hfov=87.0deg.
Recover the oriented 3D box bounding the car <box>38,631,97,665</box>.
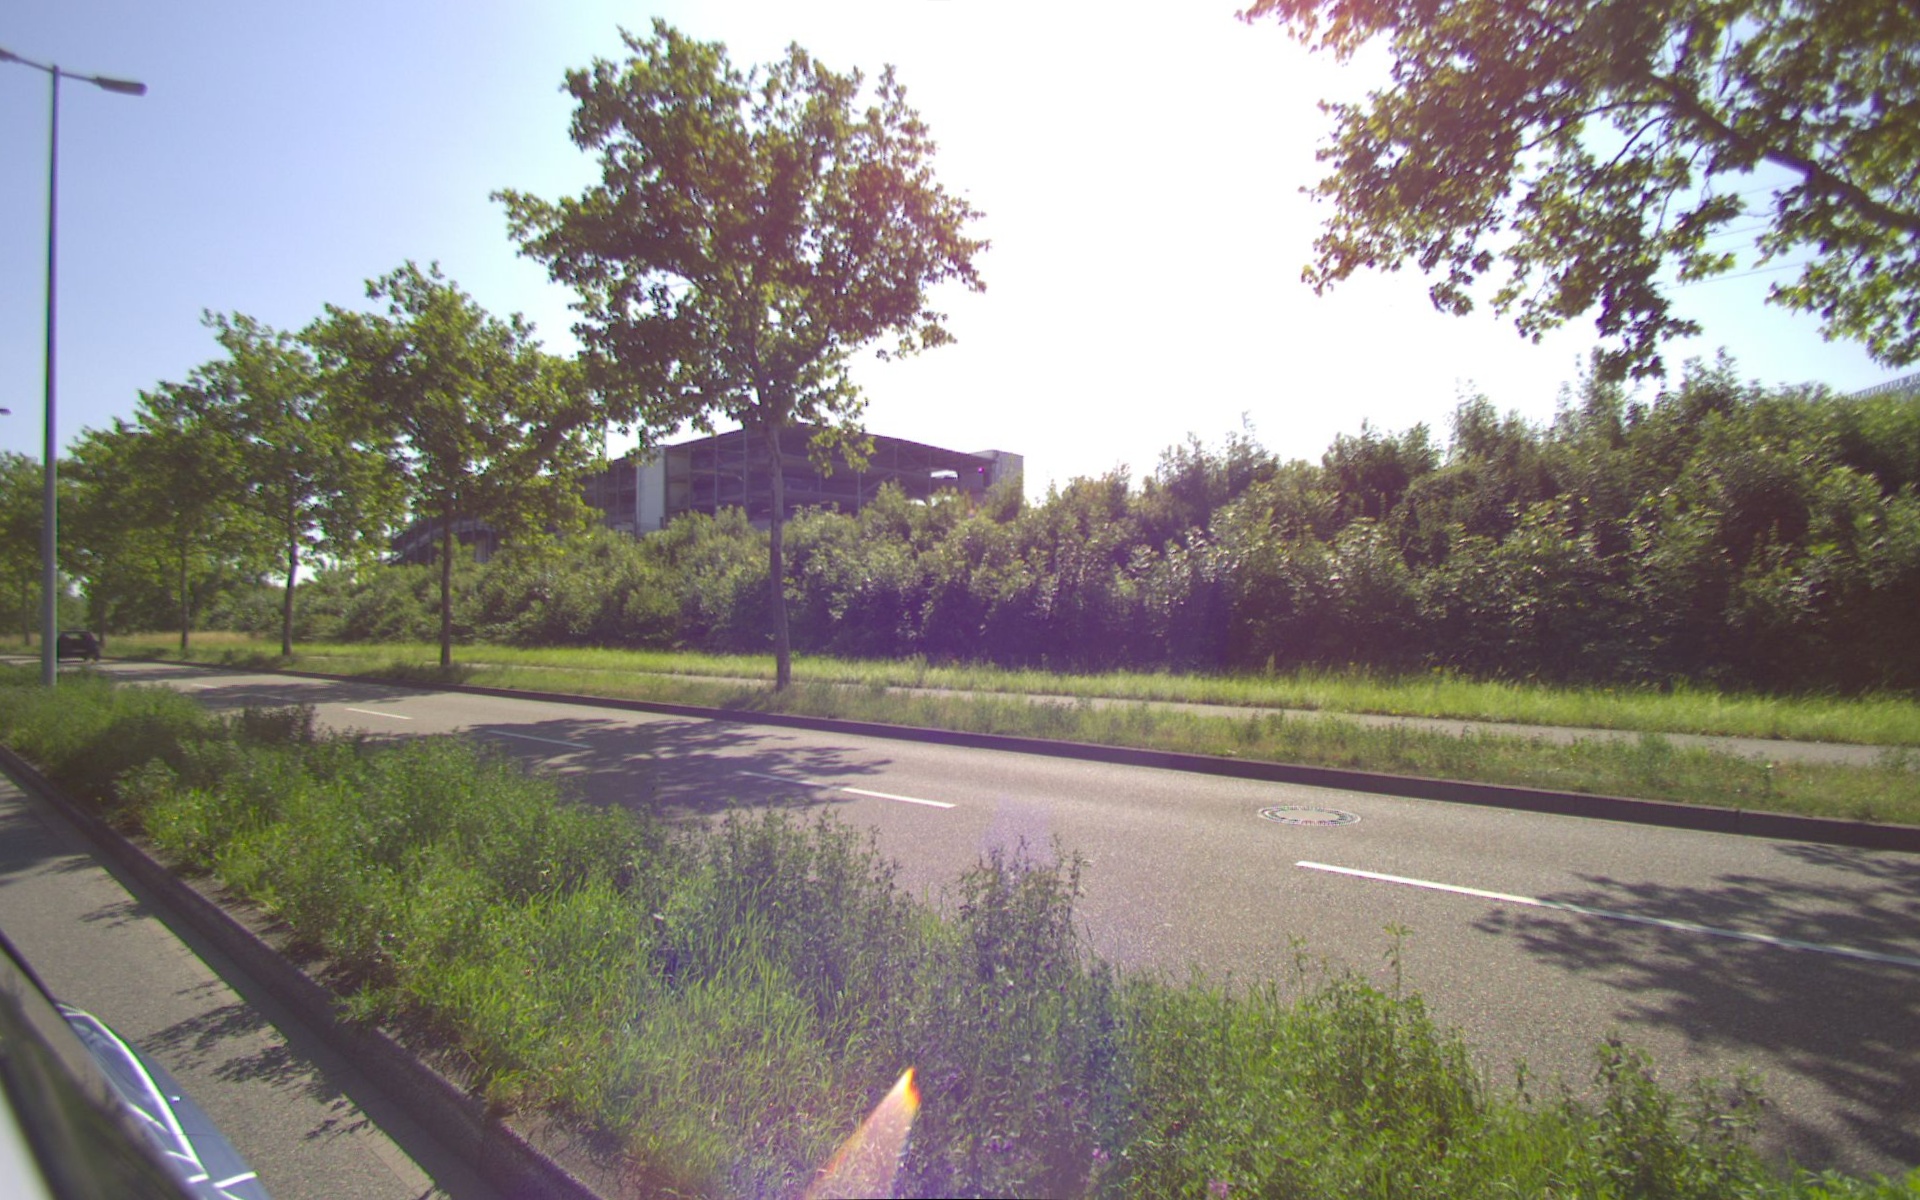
[{"bbox_3d":[-41.096,2.177,46.588,3.925,1.481,1.554,-1,-1,41],"label":"car"}]
